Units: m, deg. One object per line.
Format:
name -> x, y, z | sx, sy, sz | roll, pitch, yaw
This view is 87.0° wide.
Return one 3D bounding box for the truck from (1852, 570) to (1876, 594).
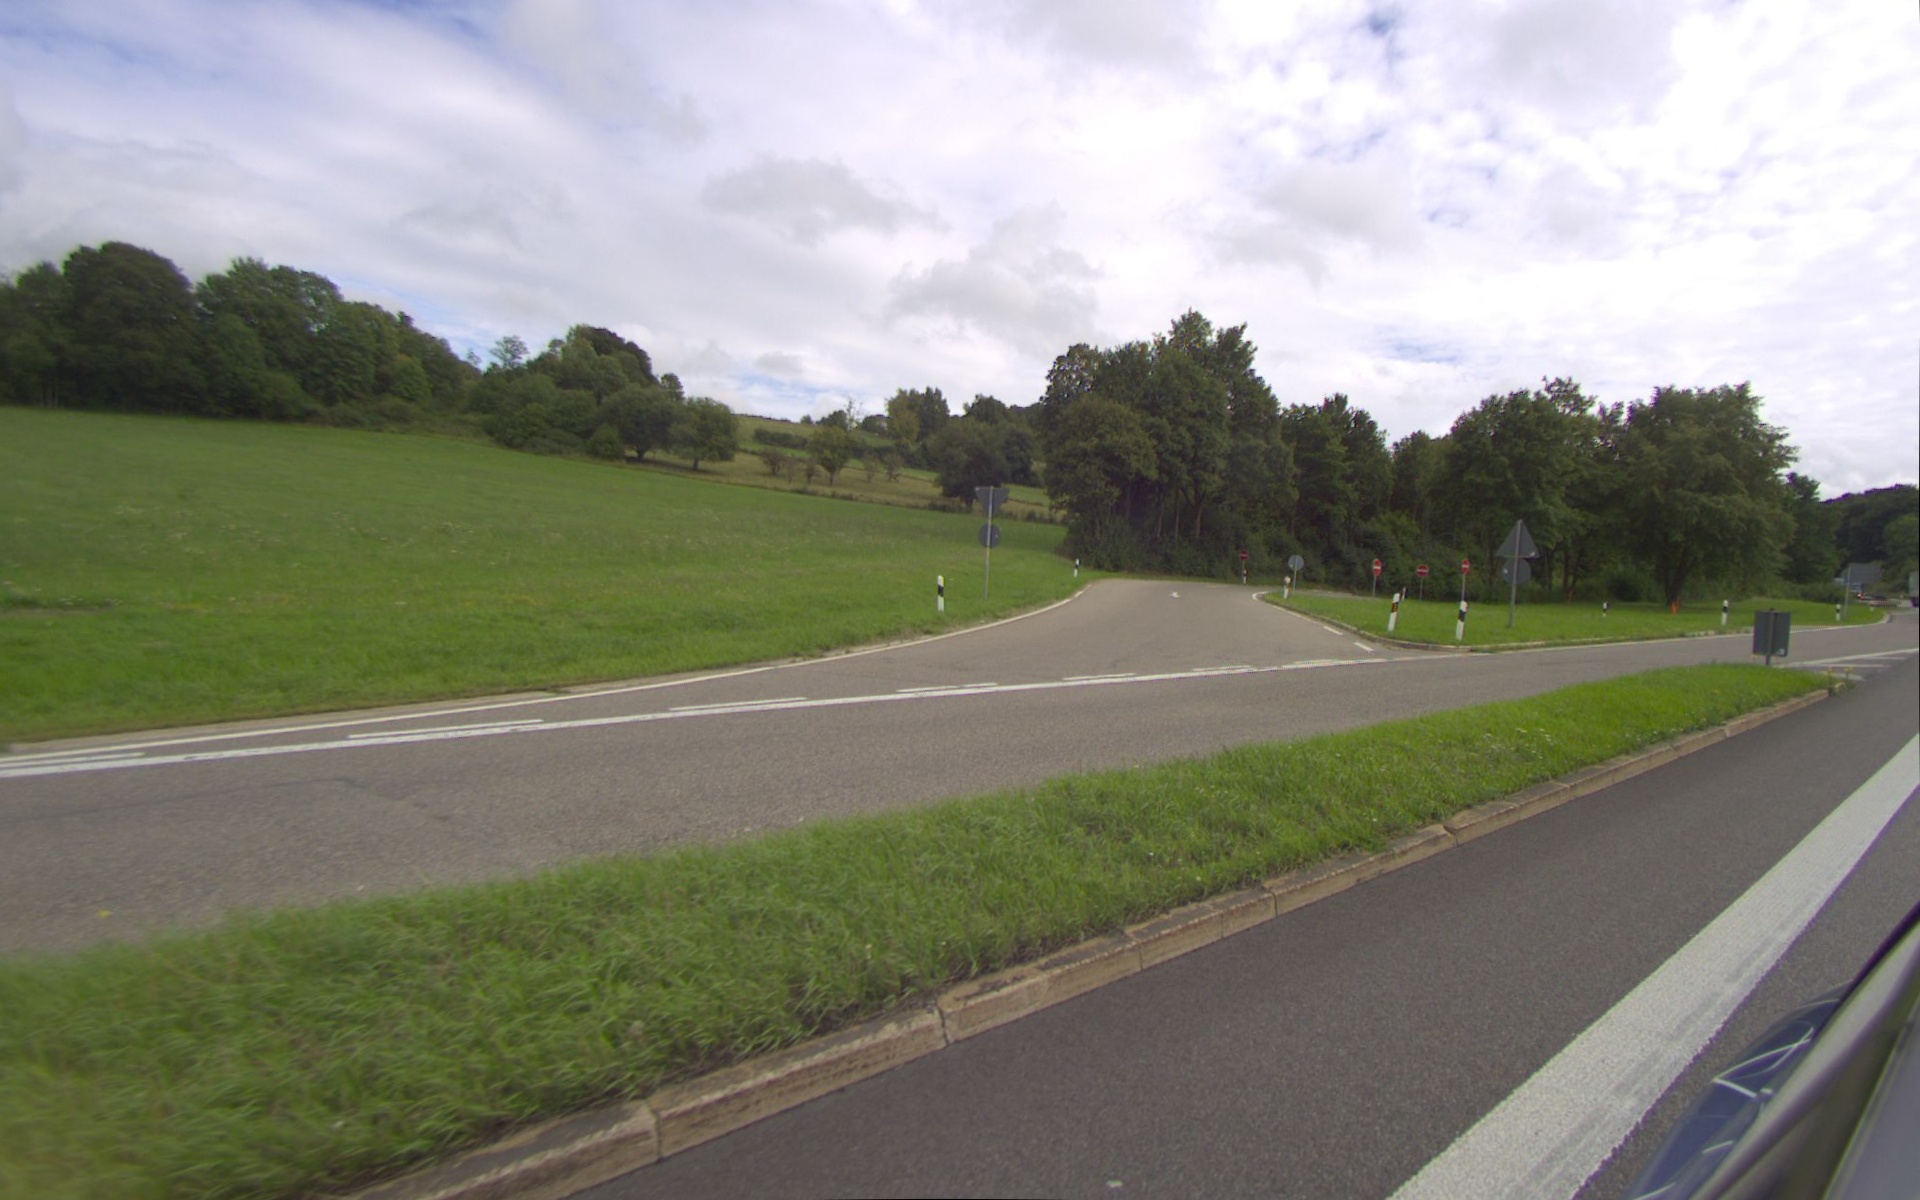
truck -> 159.141, -3.216, 178.170 | 2.785, 4.020, 5.856 | 2, 3, 40
